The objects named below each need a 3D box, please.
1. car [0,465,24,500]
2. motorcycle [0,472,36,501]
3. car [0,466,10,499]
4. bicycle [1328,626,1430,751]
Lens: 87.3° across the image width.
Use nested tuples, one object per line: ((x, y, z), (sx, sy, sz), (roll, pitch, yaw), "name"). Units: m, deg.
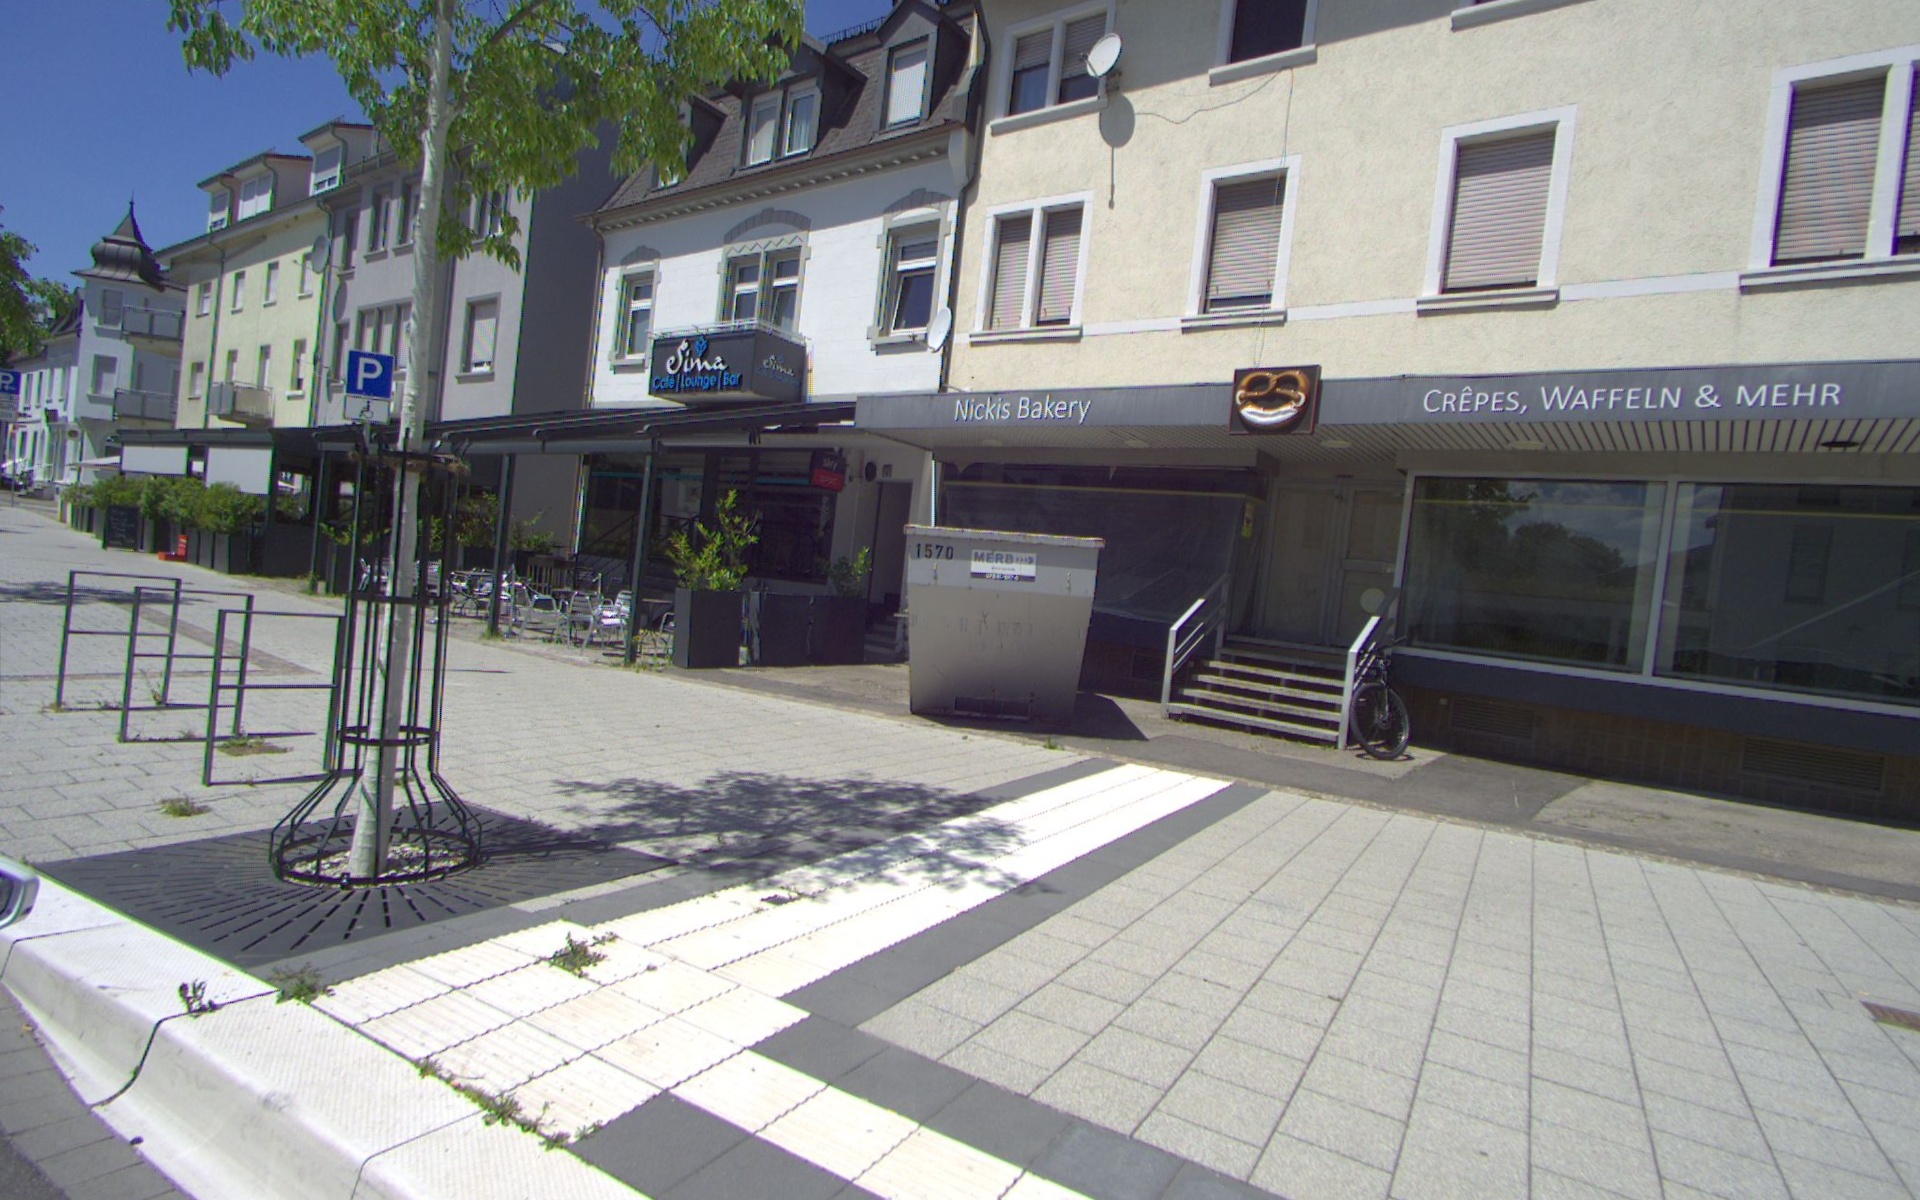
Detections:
((-53.411, -6.617, 54.152), (1.828, 1.736, 4.076), (7, -1, 37), "car")
((-49.888, -6.014, 52.447), (0.843, 1.291, 2.376), (8, 0, 38), "motorcycle")
((-55.206, -6.832, 55.266), (1.828, 1.736, 4.076), (7, -1, 37), "car")
((4.427, 0.947, 10.587), (1.266, 1.197, 0.410), (9, -2, -44), "bicycle")
